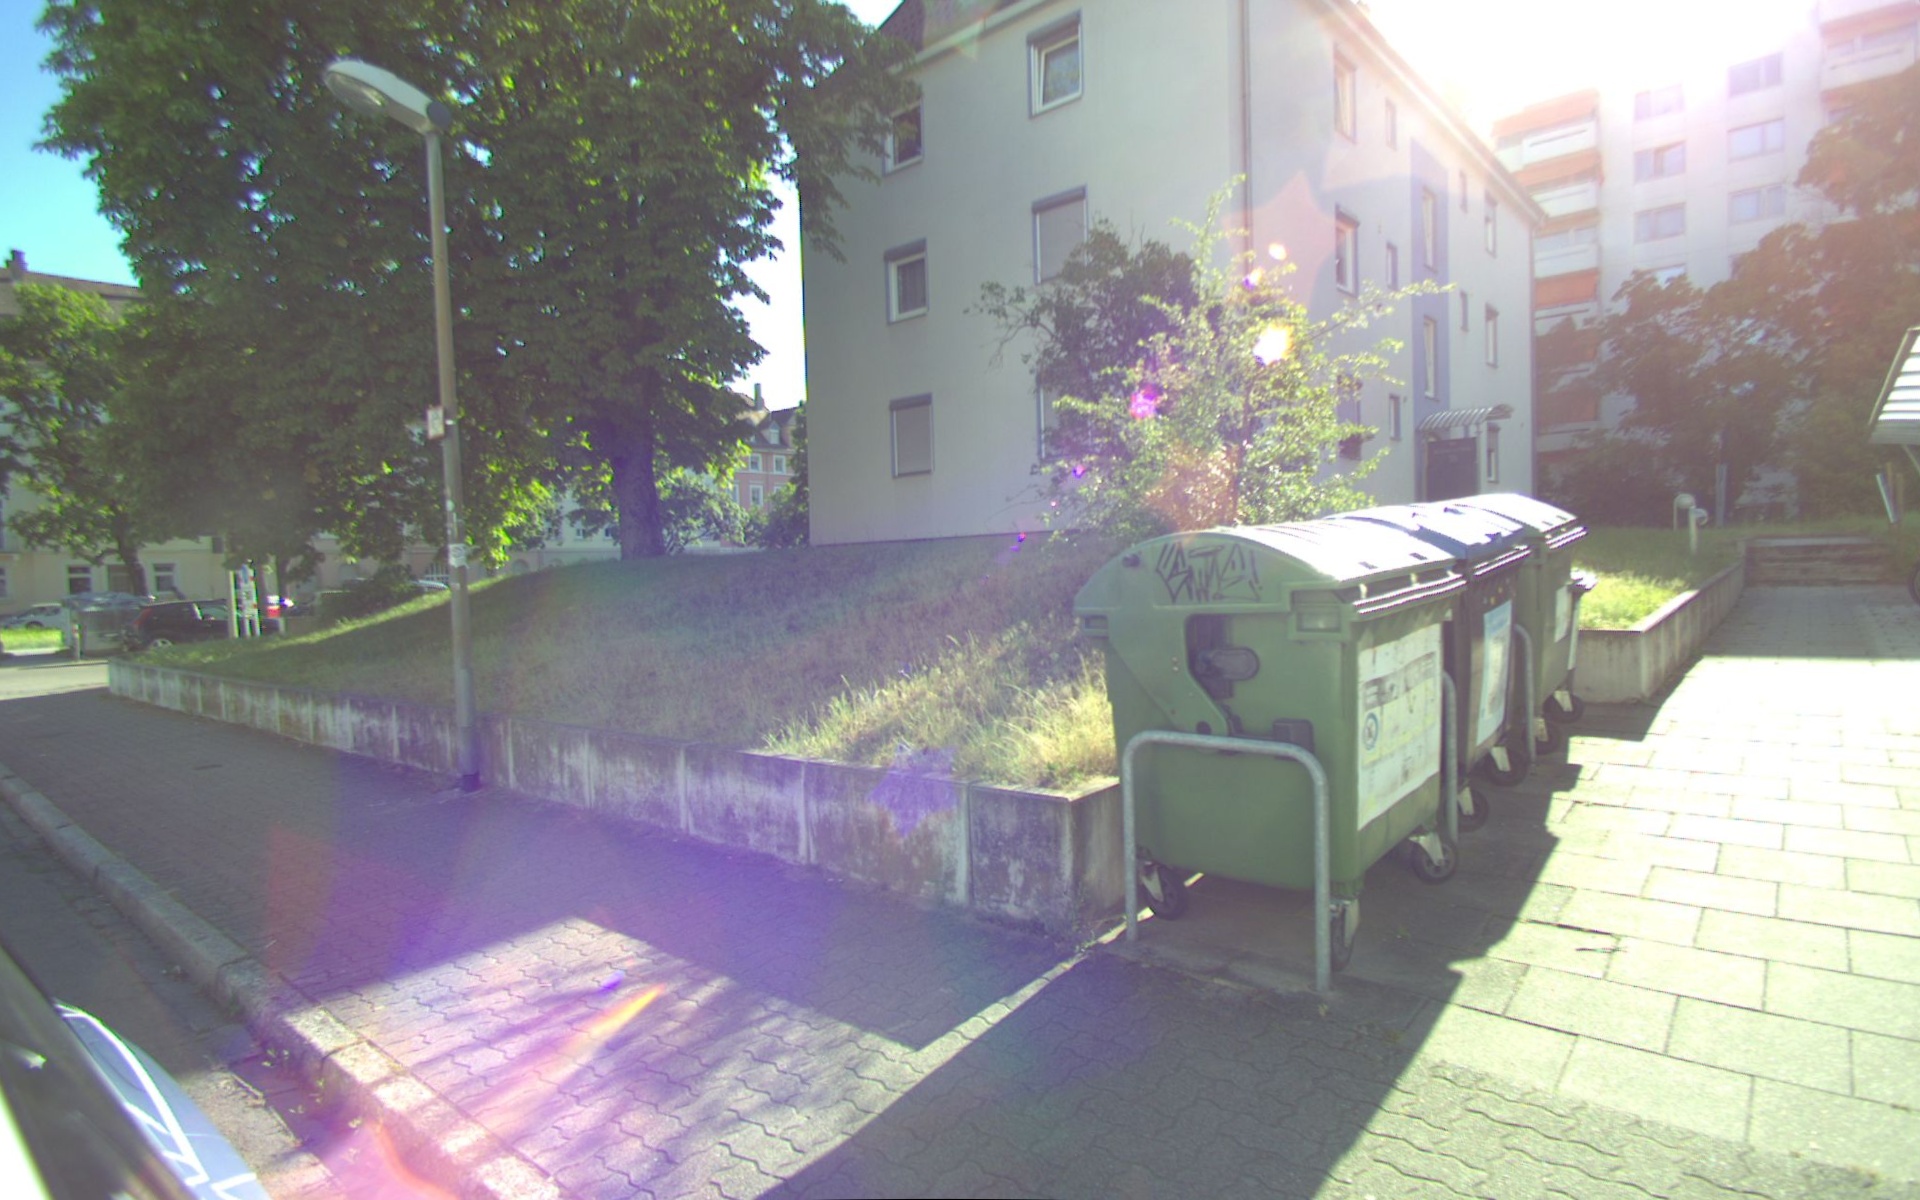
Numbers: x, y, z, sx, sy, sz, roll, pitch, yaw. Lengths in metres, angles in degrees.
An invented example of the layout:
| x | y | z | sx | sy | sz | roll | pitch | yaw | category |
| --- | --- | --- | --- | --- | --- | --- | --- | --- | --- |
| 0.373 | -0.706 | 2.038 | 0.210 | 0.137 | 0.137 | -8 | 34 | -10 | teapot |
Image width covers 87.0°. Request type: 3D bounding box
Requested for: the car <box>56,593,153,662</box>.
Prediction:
| x | y | z | sx | sy | sz | roll | pitch | yaw | category |
| --- | --- | --- | --- | --- | --- | --- | --- | --- | --- |
| -22.621 | 0.681 | 26.733 | 1.655 | 1.667 | 3.306 | -2 | 1 | -45 | car |

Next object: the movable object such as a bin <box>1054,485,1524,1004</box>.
| x | y | z | sx | sy | sz | roll | pitch | yaw | category |
| --- | --- | --- | --- | --- | --- | --- | --- | --- | --- |
| 1.258 | 0.374 | 3.769 | 1.197 | 1.470 | 1.302 | -1 | 5 | 41 | movable object such as a bin |

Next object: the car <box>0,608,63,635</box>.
| x | y | z | sx | sy | sz | roll | pitch | yaw | category |
| --- | --- | --- | --- | --- | --- | --- | --- | --- | --- |
| -49.540 | 1.135 | 53.390 | 1.544 | 1.329 | 3.152 | -1 | 1 | 40 | car |

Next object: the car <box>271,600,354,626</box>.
| x | y | z | sx | sy | sz | roll | pitch | yaw | category |
| --- | --- | --- | --- | --- | --- | --- | --- | --- | --- |
| -37.462 | 0.752 | 58.605 | 1.624 | 1.361 | 3.737 | -1 | 1 | 42 | car |

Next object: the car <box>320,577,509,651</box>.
| x | y | z | sx | sy | sz | roll | pitch | yaw | category |
| --- | --- | --- | --- | --- | --- | --- | --- | --- | --- |
| -14.509 | 0.302 | 27.085 | 1.728 | 1.753 | 4.088 | 0 | 2 | 40 | car |

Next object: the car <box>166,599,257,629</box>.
| x | y | z | sx | sy | sz | roll | pitch | yaw | category |
| --- | --- | --- | --- | --- | --- | --- | --- | --- | --- |
| -40.739 | 0.747 | 55.135 | 1.624 | 1.456 | 3.737 | -1 | 1 | 42 | car |

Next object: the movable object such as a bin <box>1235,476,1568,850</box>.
| x | y | z | sx | sy | sz | roll | pitch | yaw | category |
| --- | --- | --- | --- | --- | --- | --- | --- | --- | --- |
| 2.166 | 0.205 | 4.889 | 1.082 | 1.470 | 1.342 | -1 | 6 | 41 | movable object such as a bin |

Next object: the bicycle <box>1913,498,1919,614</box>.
| x | y | z | sx | sy | sz | roll | pitch | yaw | category |
| --- | --- | --- | --- | --- | --- | --- | --- | --- | --- |
| 11.118 | -0.490 | 10.311 | 2.008 | 1.227 | 0.633 | -1 | 2 | 41 | bicycle |

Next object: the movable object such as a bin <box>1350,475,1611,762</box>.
| x | y | z | sx | sy | sz | roll | pitch | yaw | category |
| --- | --- | --- | --- | --- | --- | --- | --- | --- | --- |
| 3.164 | 0.045 | 6.097 | 1.072 | 1.463 | 1.347 | -1 | 6 | 41 | movable object such as a bin |

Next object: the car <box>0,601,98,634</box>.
| x | y | z | sx | sy | sz | roll | pitch | yaw | category |
| --- | --- | --- | --- | --- | --- | --- | --- | --- | --- |
| -45.075 | 0.848 | 49.922 | 1.624 | 1.456 | 3.737 | -1 | 1 | 42 | car |

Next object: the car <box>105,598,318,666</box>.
| x | y | z | sx | sy | sz | roll | pitch | yaw | category |
| --- | --- | --- | --- | --- | --- | --- | --- | --- | --- |
| -19.109 | 0.758 | 25.978 | 1.728 | 1.508 | 4.087 | -1 | 1 | 41 | car |
